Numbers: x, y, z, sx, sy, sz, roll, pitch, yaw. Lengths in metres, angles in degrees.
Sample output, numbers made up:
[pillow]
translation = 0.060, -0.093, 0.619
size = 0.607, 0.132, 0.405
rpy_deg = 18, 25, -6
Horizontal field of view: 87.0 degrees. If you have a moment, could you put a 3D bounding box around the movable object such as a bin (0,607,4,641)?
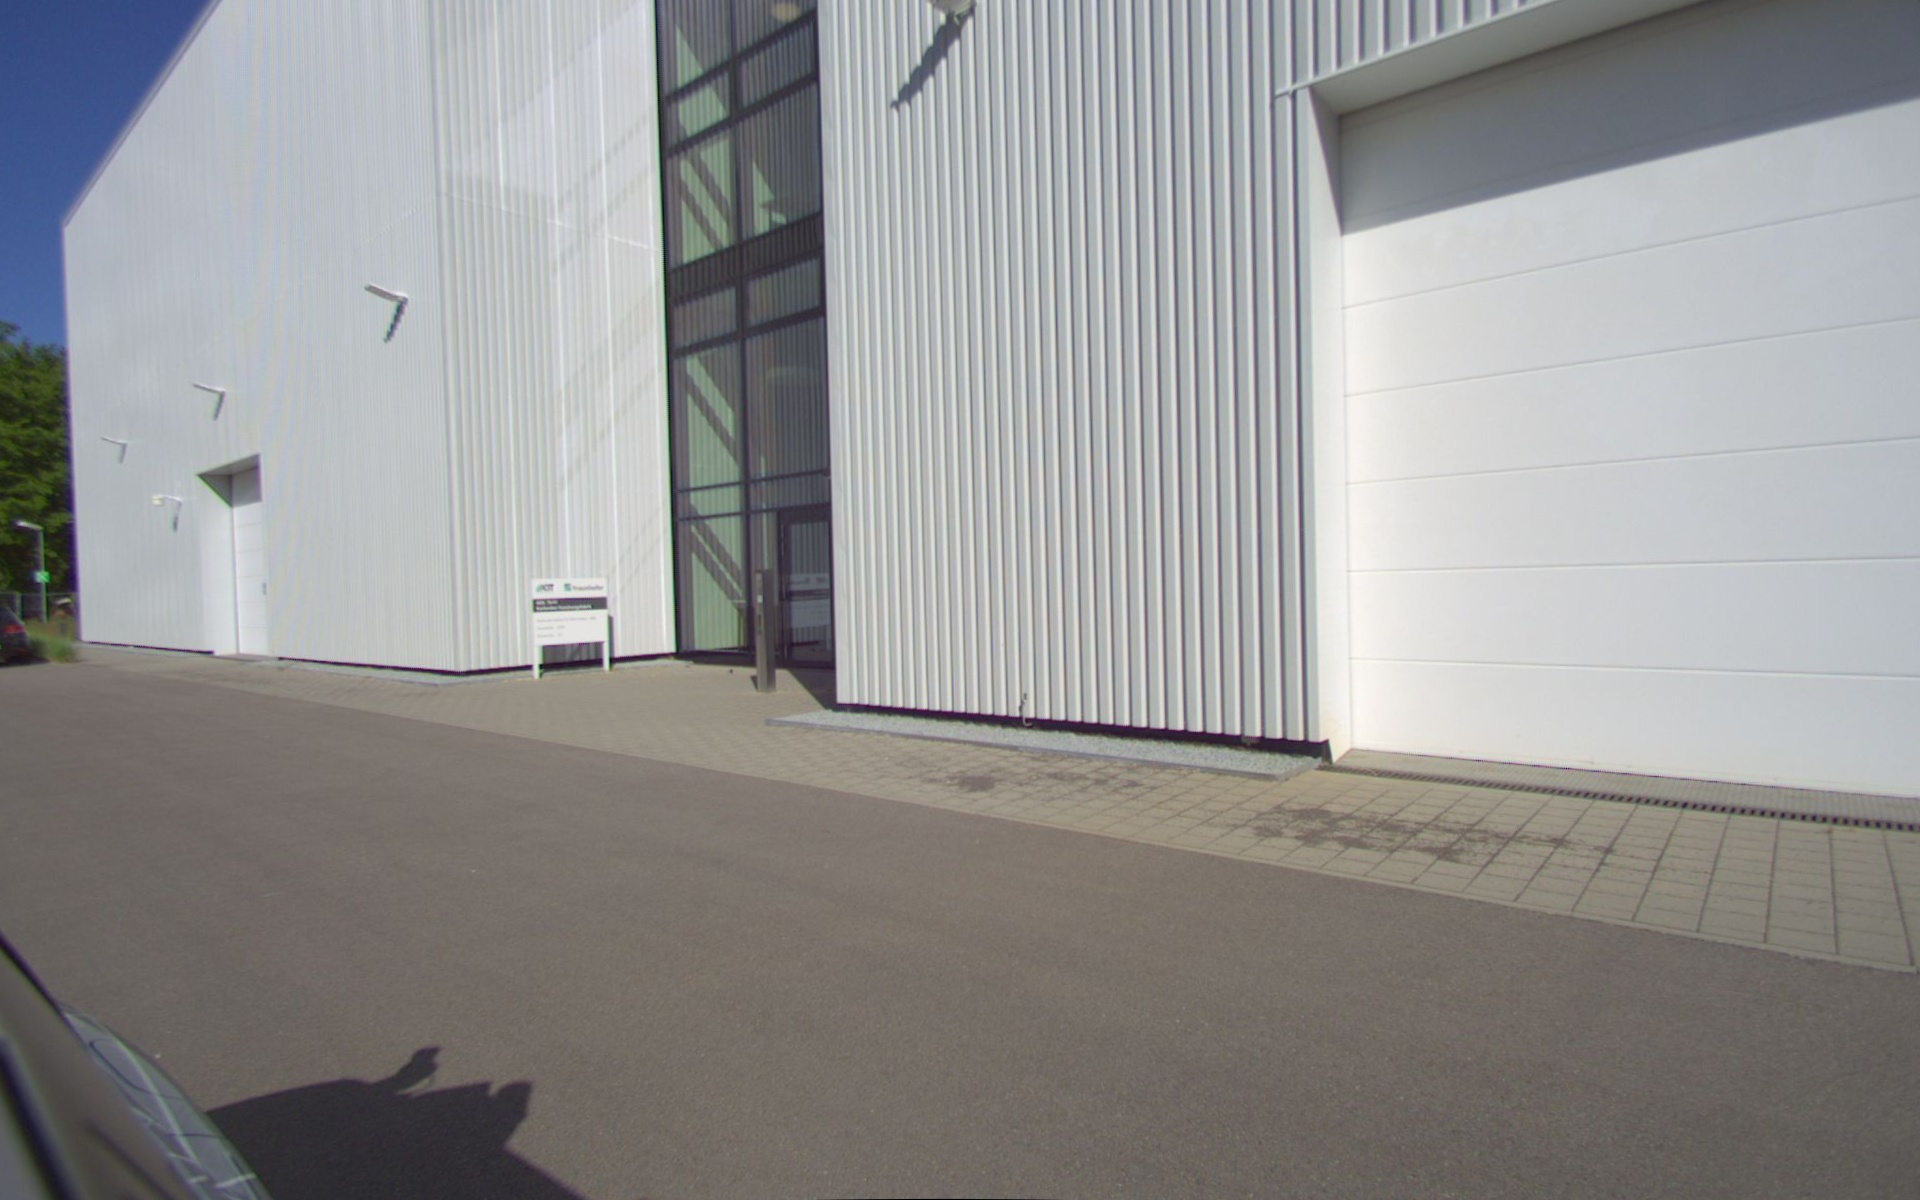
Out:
[movable object such as a bin]
translation = -41.987, 1.050, 43.541
size = 1.288, 1.445, 1.126
rpy_deg = -1, -1, 41

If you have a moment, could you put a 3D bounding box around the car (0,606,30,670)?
[car]
translation = -24.044, 0.959, 24.503
size = 4.312, 1.456, 1.738
rpy_deg = -2, 2, 41
